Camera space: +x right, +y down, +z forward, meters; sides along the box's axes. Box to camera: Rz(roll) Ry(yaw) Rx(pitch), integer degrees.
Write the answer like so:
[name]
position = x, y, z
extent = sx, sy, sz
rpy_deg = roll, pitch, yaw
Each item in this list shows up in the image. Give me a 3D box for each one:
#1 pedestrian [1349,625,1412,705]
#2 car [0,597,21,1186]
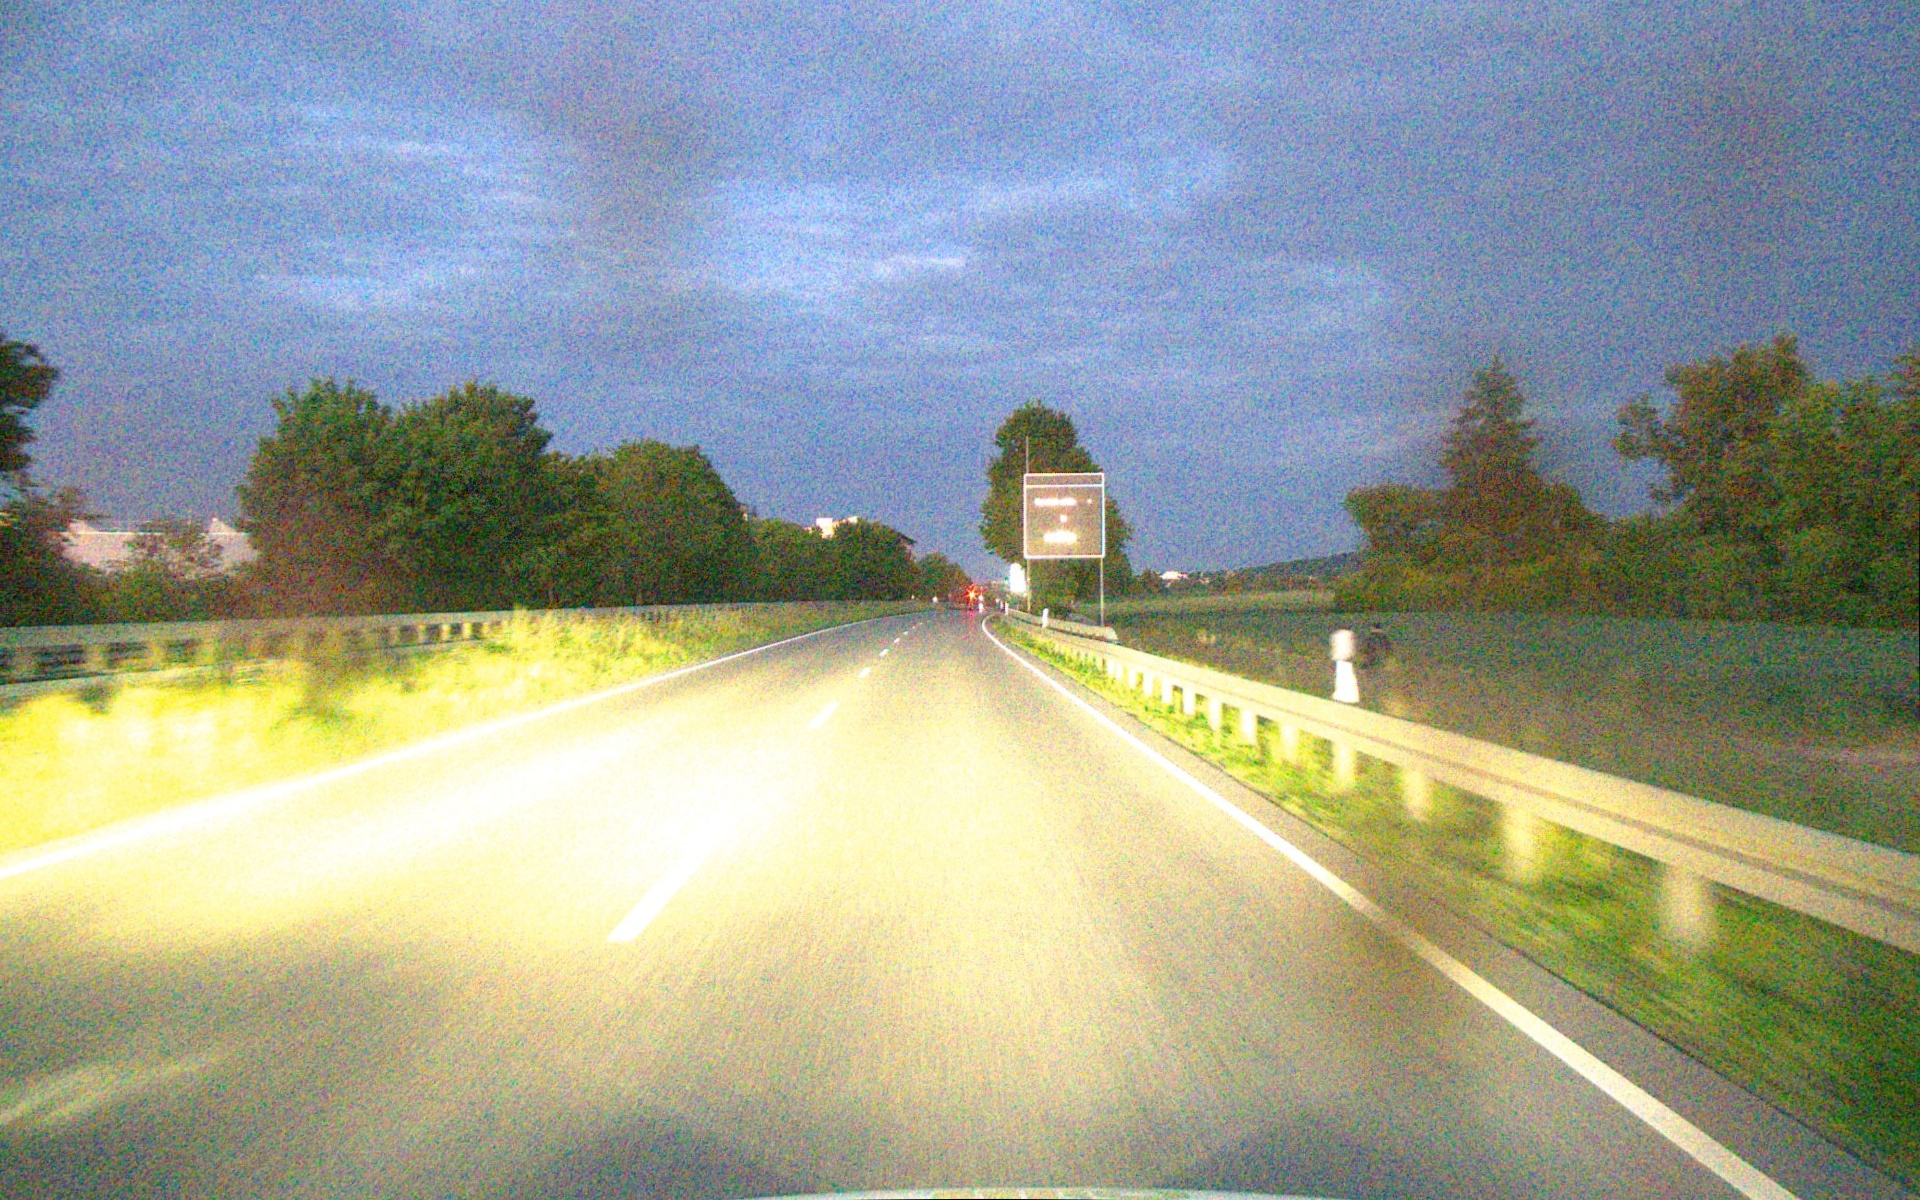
[pedestrian]
position = 9.012, 1.386, 35.492
extent = 1.040, 1.672, 1.118
rpy_deg = 1, 0, -1
[car]
position = -3.210, 0.743, 2.008
extent = 1.609, 1.516, 4.578
rpy_deg = 1, 0, -2
